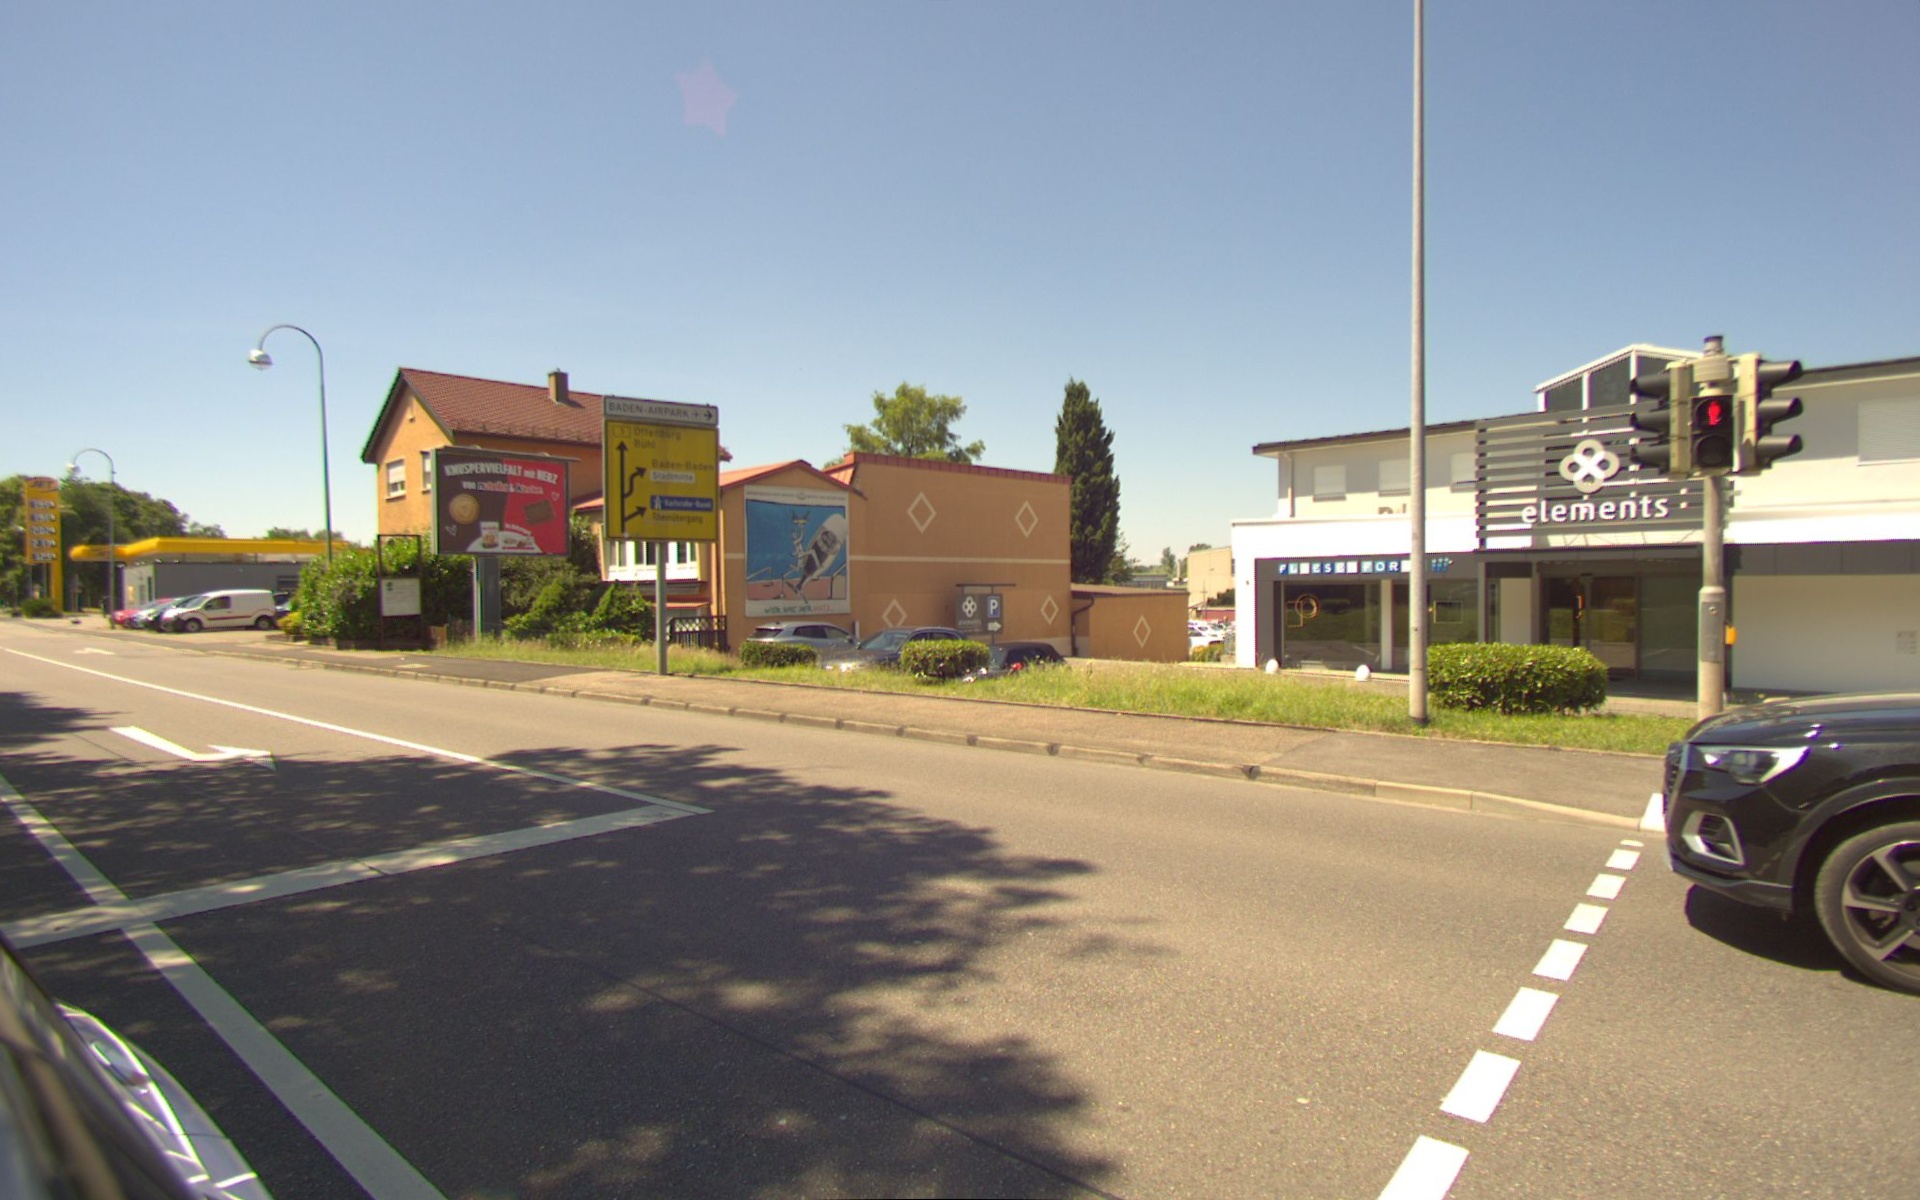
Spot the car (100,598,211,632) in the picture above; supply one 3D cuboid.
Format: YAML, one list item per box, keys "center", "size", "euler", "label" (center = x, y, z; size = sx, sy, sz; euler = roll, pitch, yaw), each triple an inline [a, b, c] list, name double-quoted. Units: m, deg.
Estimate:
- center: [-43.132, 0.776, 54.340]
  size: [1.872, 1.773, 4.350]
  euler: [0, 0, 36]
  label: "car"

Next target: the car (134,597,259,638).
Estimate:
- center: [-34.854, 0.764, 46.293]
  size: [1.872, 1.773, 4.196]
  euler: [0, 0, 36]
  label: "car"

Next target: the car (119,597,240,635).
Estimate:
- center: [-38.107, 0.756, 49.480]
  size: [1.872, 1.773, 4.350]
  euler: [0, 0, 36]
  label: "car"

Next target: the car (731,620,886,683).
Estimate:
- center: [-4.331, 1.420, 29.279]
  size: [4.164, 1.621, 1.773]
  euler: [0, 0, -41]
  label: "car"

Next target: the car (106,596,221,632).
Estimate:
- center: [-41.393, 0.696, 52.672]
  size: [1.872, 1.773, 4.350]
  euler: [0, 0, 36]
  label: "car"

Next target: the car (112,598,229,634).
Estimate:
- center: [-39.717, 0.778, 51.009]
  size: [1.872, 1.773, 4.350]
  euler: [0, 0, 36]
  label: "car"

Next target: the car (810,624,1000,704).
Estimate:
- center: [-1.238, 1.444, 24.275]
  size: [4.460, 1.654, 1.773]
  euler: [0, 0, -42]
  label: "car"

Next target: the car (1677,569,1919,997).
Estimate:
- center: [5.212, 0.666, 3.575]
  size: [4.297, 1.567, 1.908]
  euler: [0, 0, 38]
  label: "car"

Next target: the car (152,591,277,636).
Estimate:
- center: [-33.125, 0.590, 45.073]
  size: [1.872, 1.883, 4.141]
  euler: [0, 0, 36]
  label: "car"

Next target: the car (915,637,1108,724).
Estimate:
- center: [1.163, 1.634, 21.530]
  size: [4.037, 1.544, 1.773]
  euler: [0, 0, -42]
  label: "car"

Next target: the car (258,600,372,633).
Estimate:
- center: [-31.713, 0.784, 49.853]
  size: [1.872, 1.575, 4.350]
  euler: [0, 0, 36]
  label: "car"
